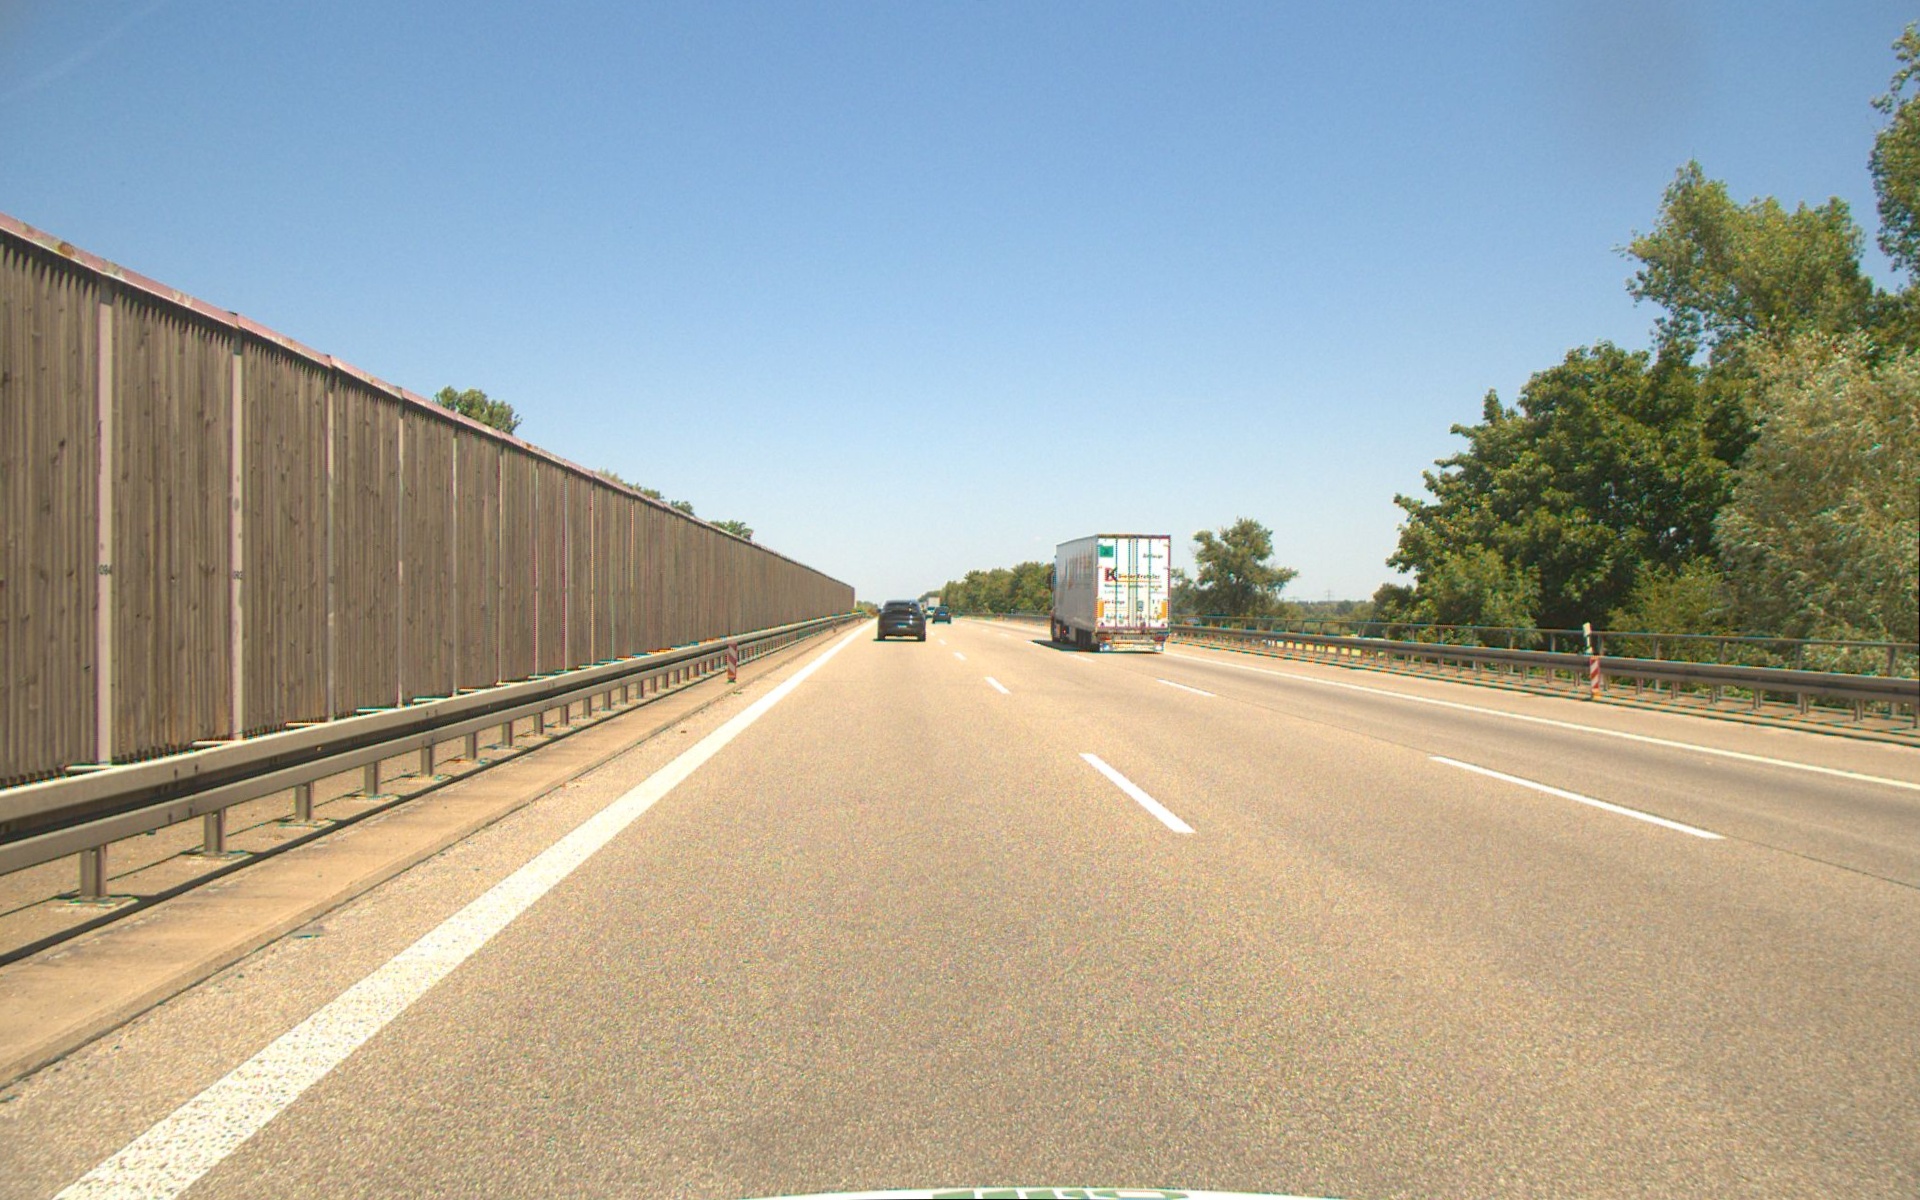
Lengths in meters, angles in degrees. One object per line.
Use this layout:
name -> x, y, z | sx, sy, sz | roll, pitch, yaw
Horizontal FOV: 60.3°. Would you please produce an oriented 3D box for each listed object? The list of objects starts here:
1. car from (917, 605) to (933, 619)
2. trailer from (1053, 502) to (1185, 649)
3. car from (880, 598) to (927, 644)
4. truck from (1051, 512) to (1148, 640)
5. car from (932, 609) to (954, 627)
car -> -4.230, 1.492, 197.879 | 1.865, 1.612, 4.302 | 0, -1, -2
trailer -> 5.801, -0.823, 63.071 | 3.203, 4.922, 14.024 | 1, 0, -2
car -> -2.352, 0.843, 68.180 | 1.843, 1.823, 3.997 | 0, 0, -4
truck -> 5.686, -0.953, 68.584 | 3.169, 4.974, 6.969 | 1, 0, -2
car -> -1.499, 1.627, 147.630 | 1.865, 1.612, 4.302 | 0, -1, -2
